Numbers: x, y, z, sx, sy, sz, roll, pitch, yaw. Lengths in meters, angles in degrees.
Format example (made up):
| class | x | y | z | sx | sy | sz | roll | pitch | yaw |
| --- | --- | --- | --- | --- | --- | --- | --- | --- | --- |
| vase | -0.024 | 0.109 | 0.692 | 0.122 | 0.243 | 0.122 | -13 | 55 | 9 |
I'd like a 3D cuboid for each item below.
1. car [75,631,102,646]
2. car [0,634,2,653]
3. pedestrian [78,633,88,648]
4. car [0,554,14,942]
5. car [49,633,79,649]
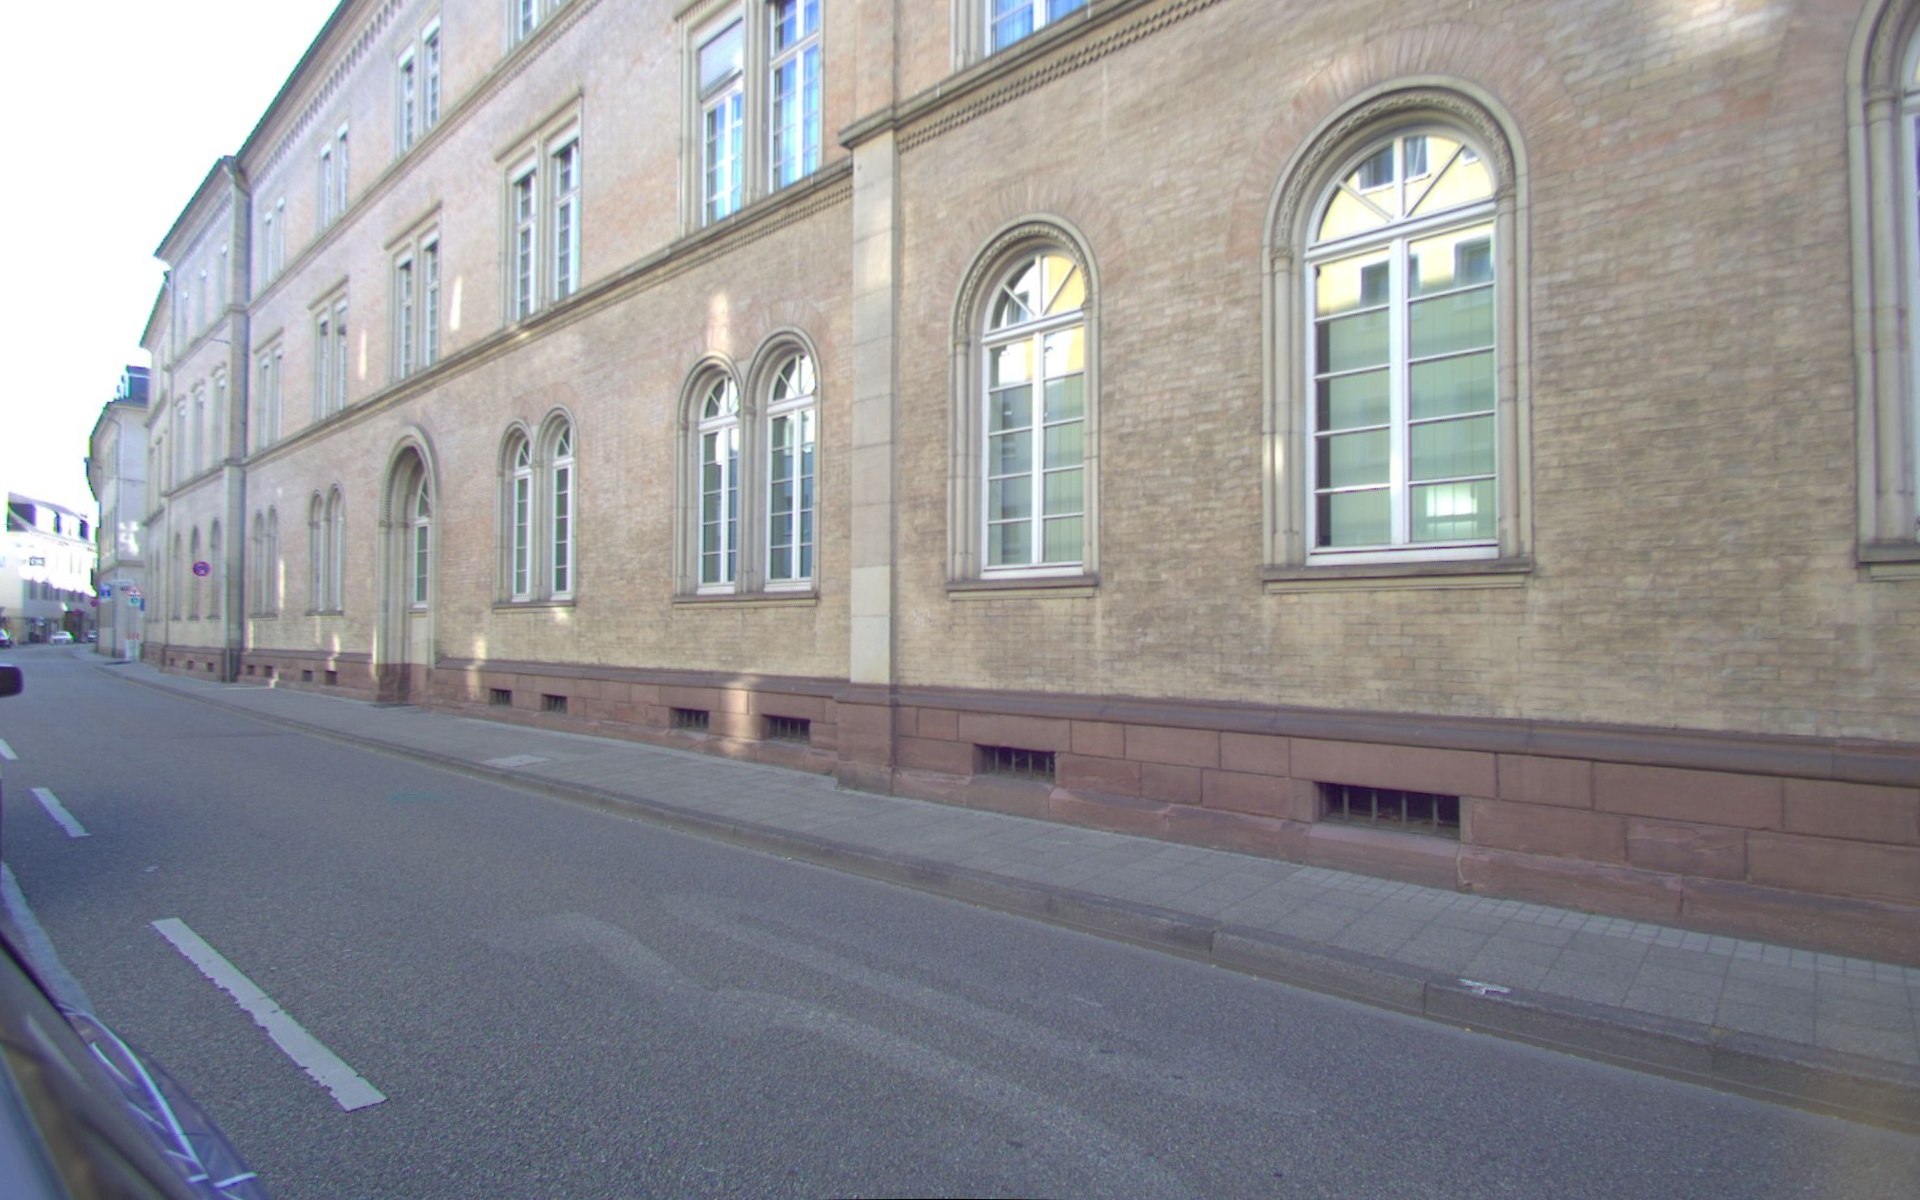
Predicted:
| class | x | y | z | sx | sy | sz | roll | pitch | yaw |
| --- | --- | --- | --- | --- | --- | --- | --- | --- | --- |
| car | -109.215 | 4.768 | 126.830 | 1.966 | 1.665 | 4.240 | -1 | 0 | -33 |
| car | -86.601 | 3.900 | 89.951 | 1.969 | 1.665 | 4.235 | -1 | 0 | -41 |
| pedestrian | -98.177 | 4.560 | 113.341 | 0.694 | 1.648 | 0.834 | 5 | -4 | -38 |
| car | -6.974 | 0.691 | 5.790 | 5.329 | 1.784 | 1.747 | -1 | -2 | 41 |
| car | -102.842 | 4.690 | 116.177 | 1.966 | 1.665 | 4.240 | -1 | 0 | -33 |
